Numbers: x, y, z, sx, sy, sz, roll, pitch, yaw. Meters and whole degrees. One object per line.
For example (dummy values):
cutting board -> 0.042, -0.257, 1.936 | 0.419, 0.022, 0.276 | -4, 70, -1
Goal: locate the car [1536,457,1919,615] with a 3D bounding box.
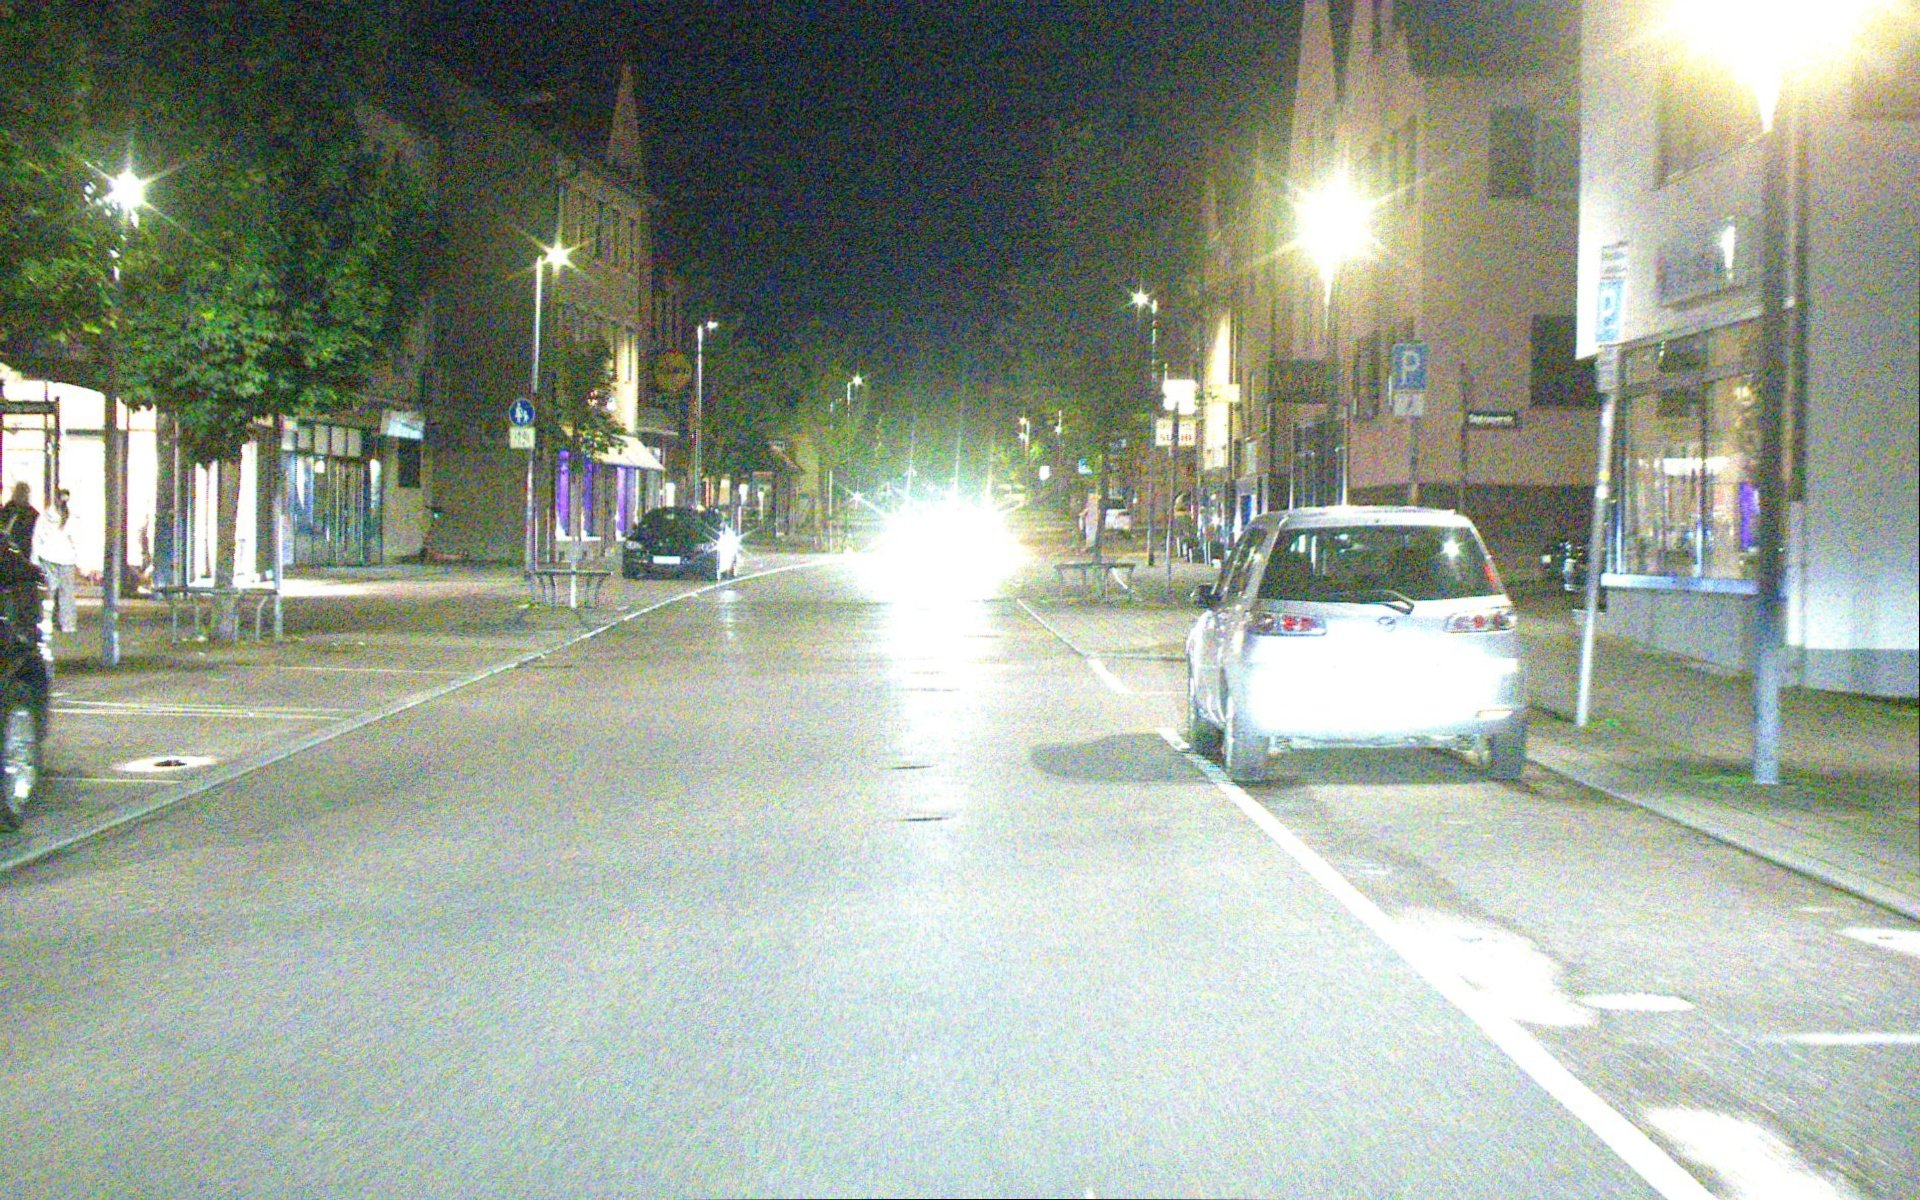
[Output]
car -> 8.966, -0.768, 40.082 | 4.076, 1.576, 1.817 | -3, 2, -3

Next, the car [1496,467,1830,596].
car -> 9.308, -0.904, 45.710 | 3.986, 1.471, 1.752 | -3, 1, -2

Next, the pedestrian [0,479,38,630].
pedestrian -> -10.840, -0.520, 38.538 | 0.769, 1.650, 0.817 | 0, 3, 1

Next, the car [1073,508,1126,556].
car -> 4.936, -2.432, 122.016 | 1.775, 1.647, 4.364 | 0, 2, 1

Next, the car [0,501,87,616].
car -> -13.741, -0.473, 44.779 | 4.167, 1.433, 1.841 | -2, 1, 4

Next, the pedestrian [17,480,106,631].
pedestrian -> -10.060, -0.508, 38.514 | 0.769, 1.650, 0.782 | 0, 3, 1

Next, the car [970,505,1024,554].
car -> 1.312, -2.475, 119.910 | 1.775, 1.647, 4.364 | 0, 2, 2

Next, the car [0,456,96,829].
car -> -5.342, 0.176, 14.567 | 2.018, 1.685, 5.003 | 2, 1, 0

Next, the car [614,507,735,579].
car -> -5.653, -1.163, 68.539 | 1.914, 1.366, 4.457 | 0, 2, 2

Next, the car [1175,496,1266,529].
car -> 11.746, -3.951, 154.896 | 3.988, 1.411, 1.999 | 0, 0, 6

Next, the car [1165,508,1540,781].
car -> 2.211, 0.208, 20.258 | 1.674, 1.455, 3.676 | 0, 1, -2

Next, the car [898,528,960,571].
car -> -0.921, -1.525, 103.369 | 1.723, 1.242, 4.237 | 0, 1, 1
